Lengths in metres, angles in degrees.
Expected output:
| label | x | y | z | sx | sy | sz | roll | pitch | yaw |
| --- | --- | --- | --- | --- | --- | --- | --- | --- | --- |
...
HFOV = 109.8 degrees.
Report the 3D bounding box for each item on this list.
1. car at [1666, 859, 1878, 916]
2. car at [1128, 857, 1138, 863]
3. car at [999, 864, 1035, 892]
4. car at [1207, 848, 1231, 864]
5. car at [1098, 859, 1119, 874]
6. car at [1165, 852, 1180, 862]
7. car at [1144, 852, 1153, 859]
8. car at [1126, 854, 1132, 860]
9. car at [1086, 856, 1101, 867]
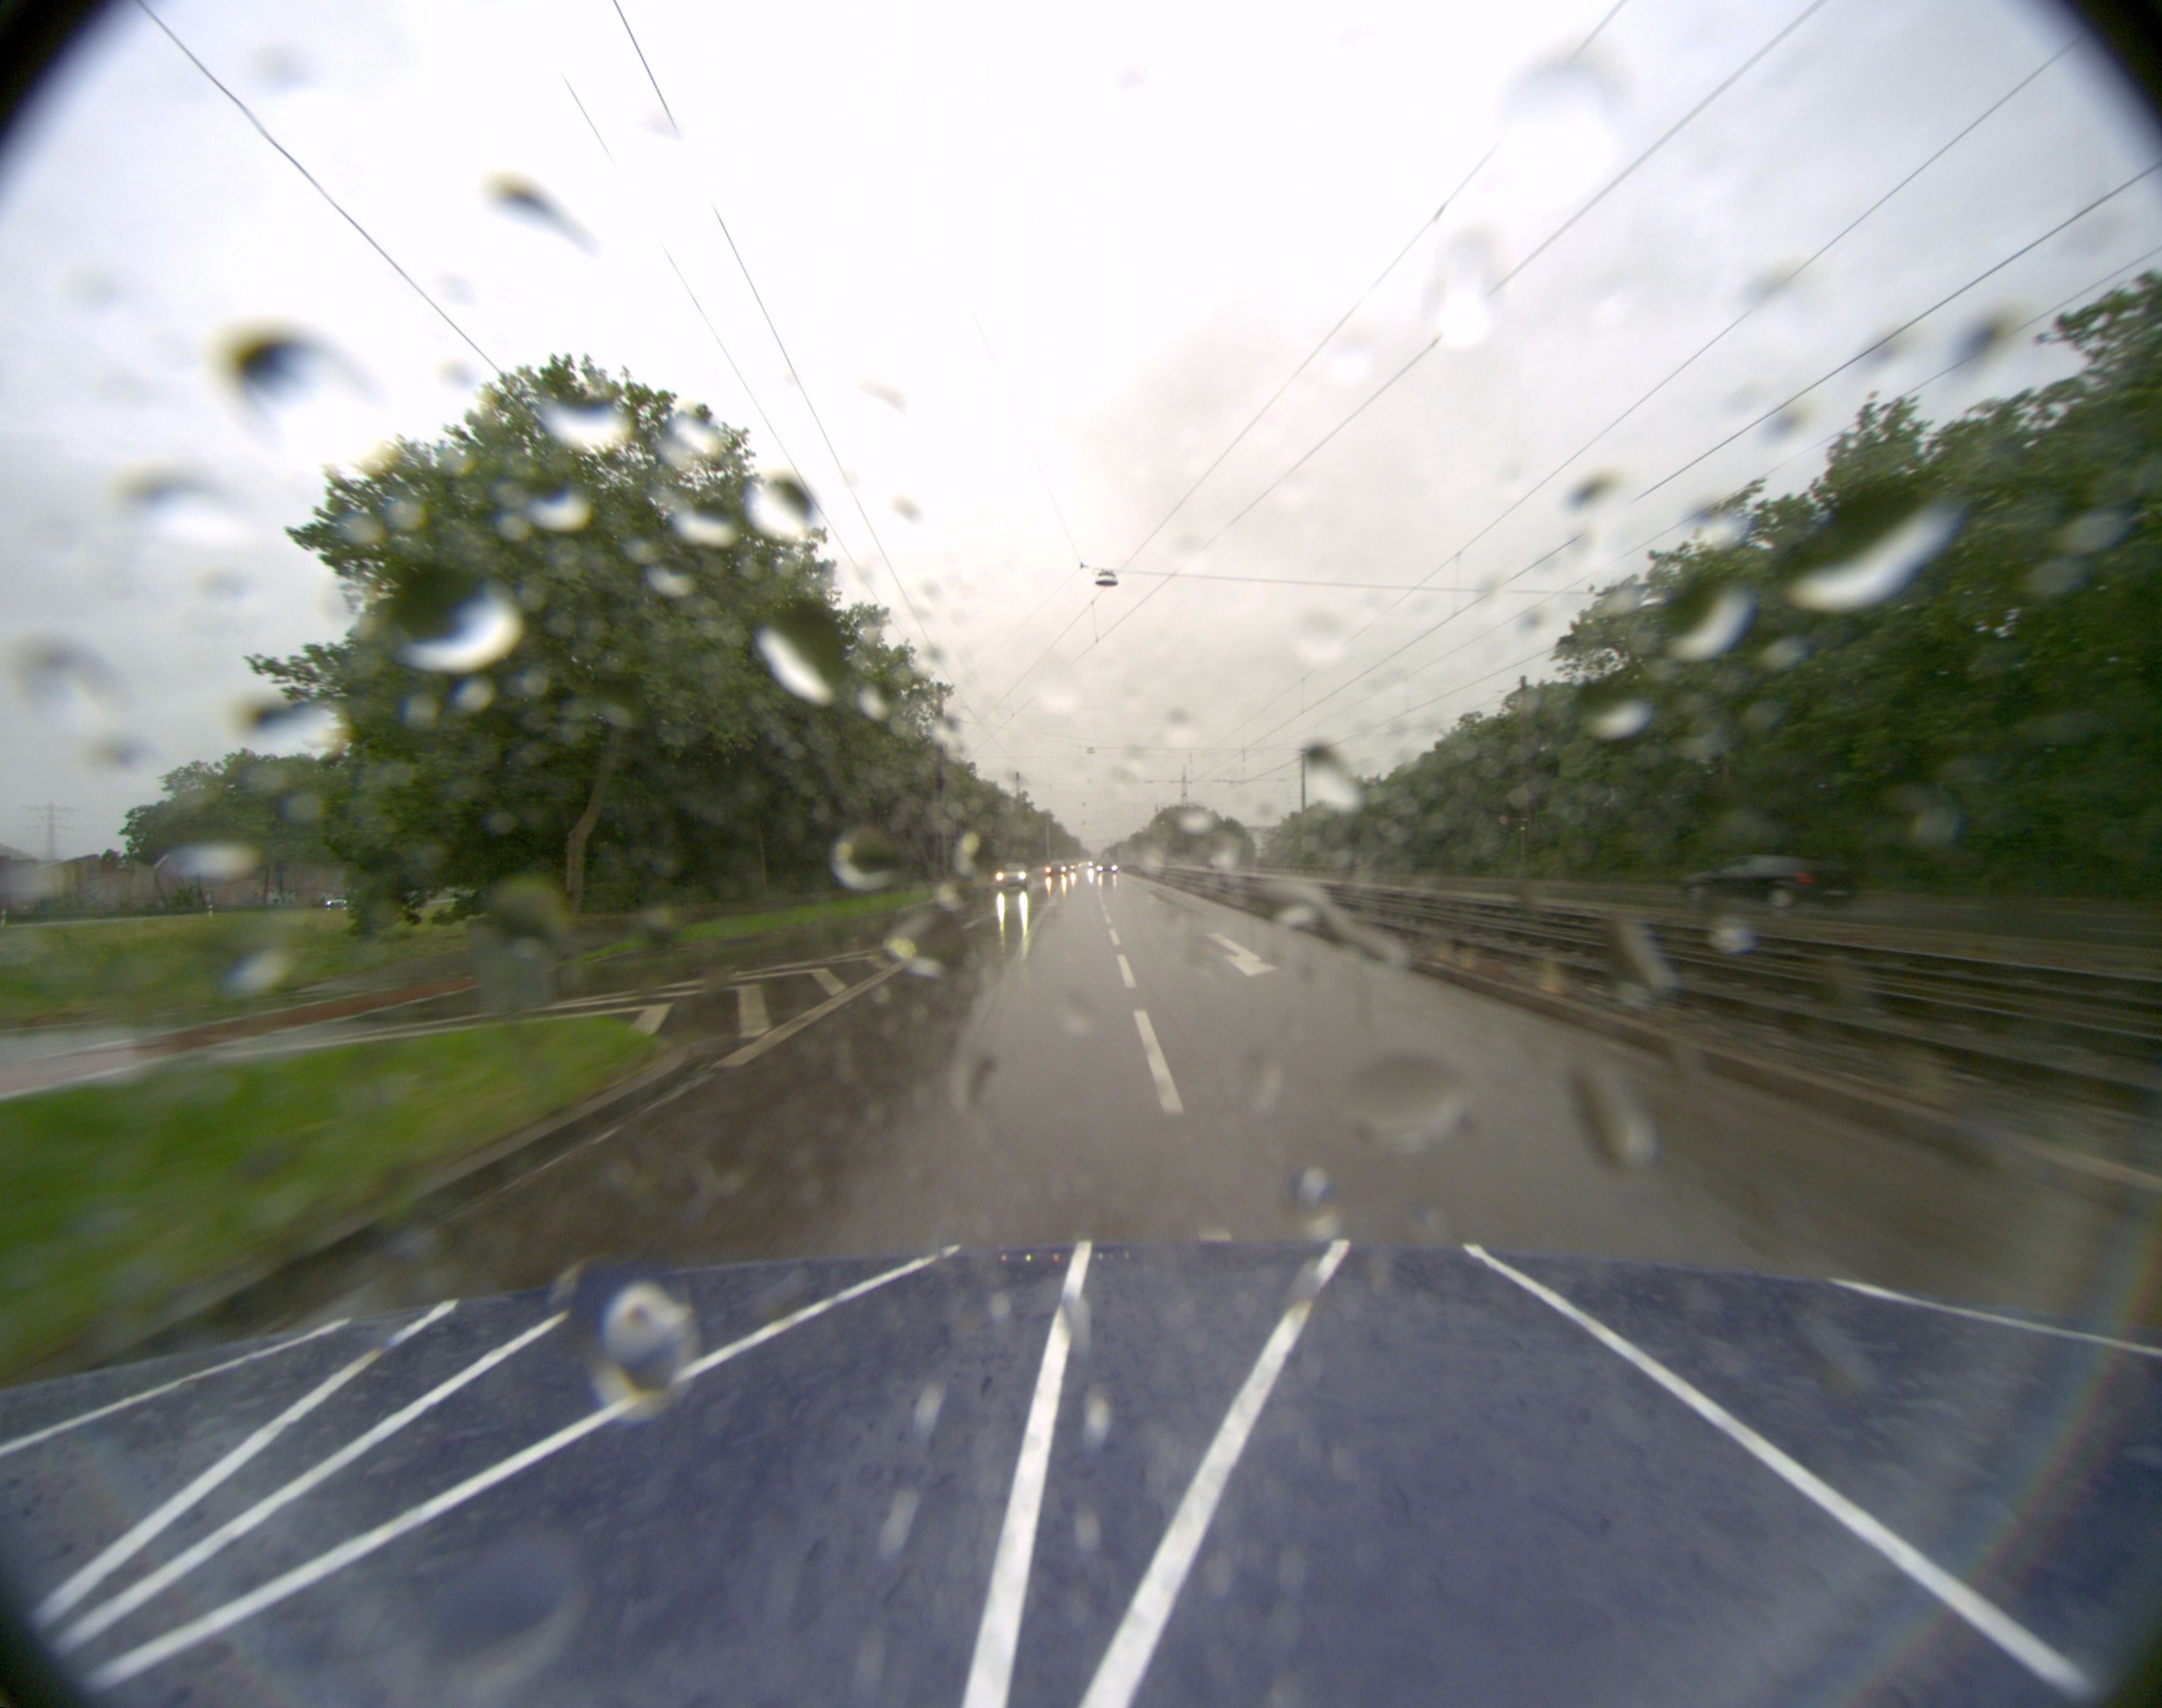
| label | x | y | z | sx | sy | sz | roll | pitch | yaw |
| --- | --- | --- | --- | --- | --- | --- | --- | --- | --- |
| car | 18.670 | 0.841 | 20.862 | 1.776 | 1.322 | 4.379 | -1 | 0 | -1 |
| car | 12.568 | 1.379 | 184.352 | 1.999 | 1.380 | 4.853 | -1 | 0 | -1 |
| car | -3.648 | 1.349 | 43.891 | 1.751 | 1.412 | 4.000 | 0 | 0 | 0 |
| car | 16.580 | 0.246 | 91.247 | 1.999 | 1.772 | 4.000 | -6 | 0 | 0 |
| car | 2.746 | 1.245 | 77.377 | 1.971 | 1.412 | 4.000 | 0 | 0 | 0 |
| car | 16.621 | 0.584 | 137.987 | 1.999 | 1.662 | 4.872 | -1 | 0 | -1 |
| car | 16.687 | 0.302 | 187.759 | 1.845 | 1.565 | 4.385 | -2 | 0 | 0 |
| car | 16.196 | 0.900 | 256.730 | 1.853 | 1.821 | 4.393 | -5 | 0 | 0 |
| car | 1.771 | 1.076 | 107.824 | 1.971 | 1.412 | 4.000 | 0 | 0 | 0 |
